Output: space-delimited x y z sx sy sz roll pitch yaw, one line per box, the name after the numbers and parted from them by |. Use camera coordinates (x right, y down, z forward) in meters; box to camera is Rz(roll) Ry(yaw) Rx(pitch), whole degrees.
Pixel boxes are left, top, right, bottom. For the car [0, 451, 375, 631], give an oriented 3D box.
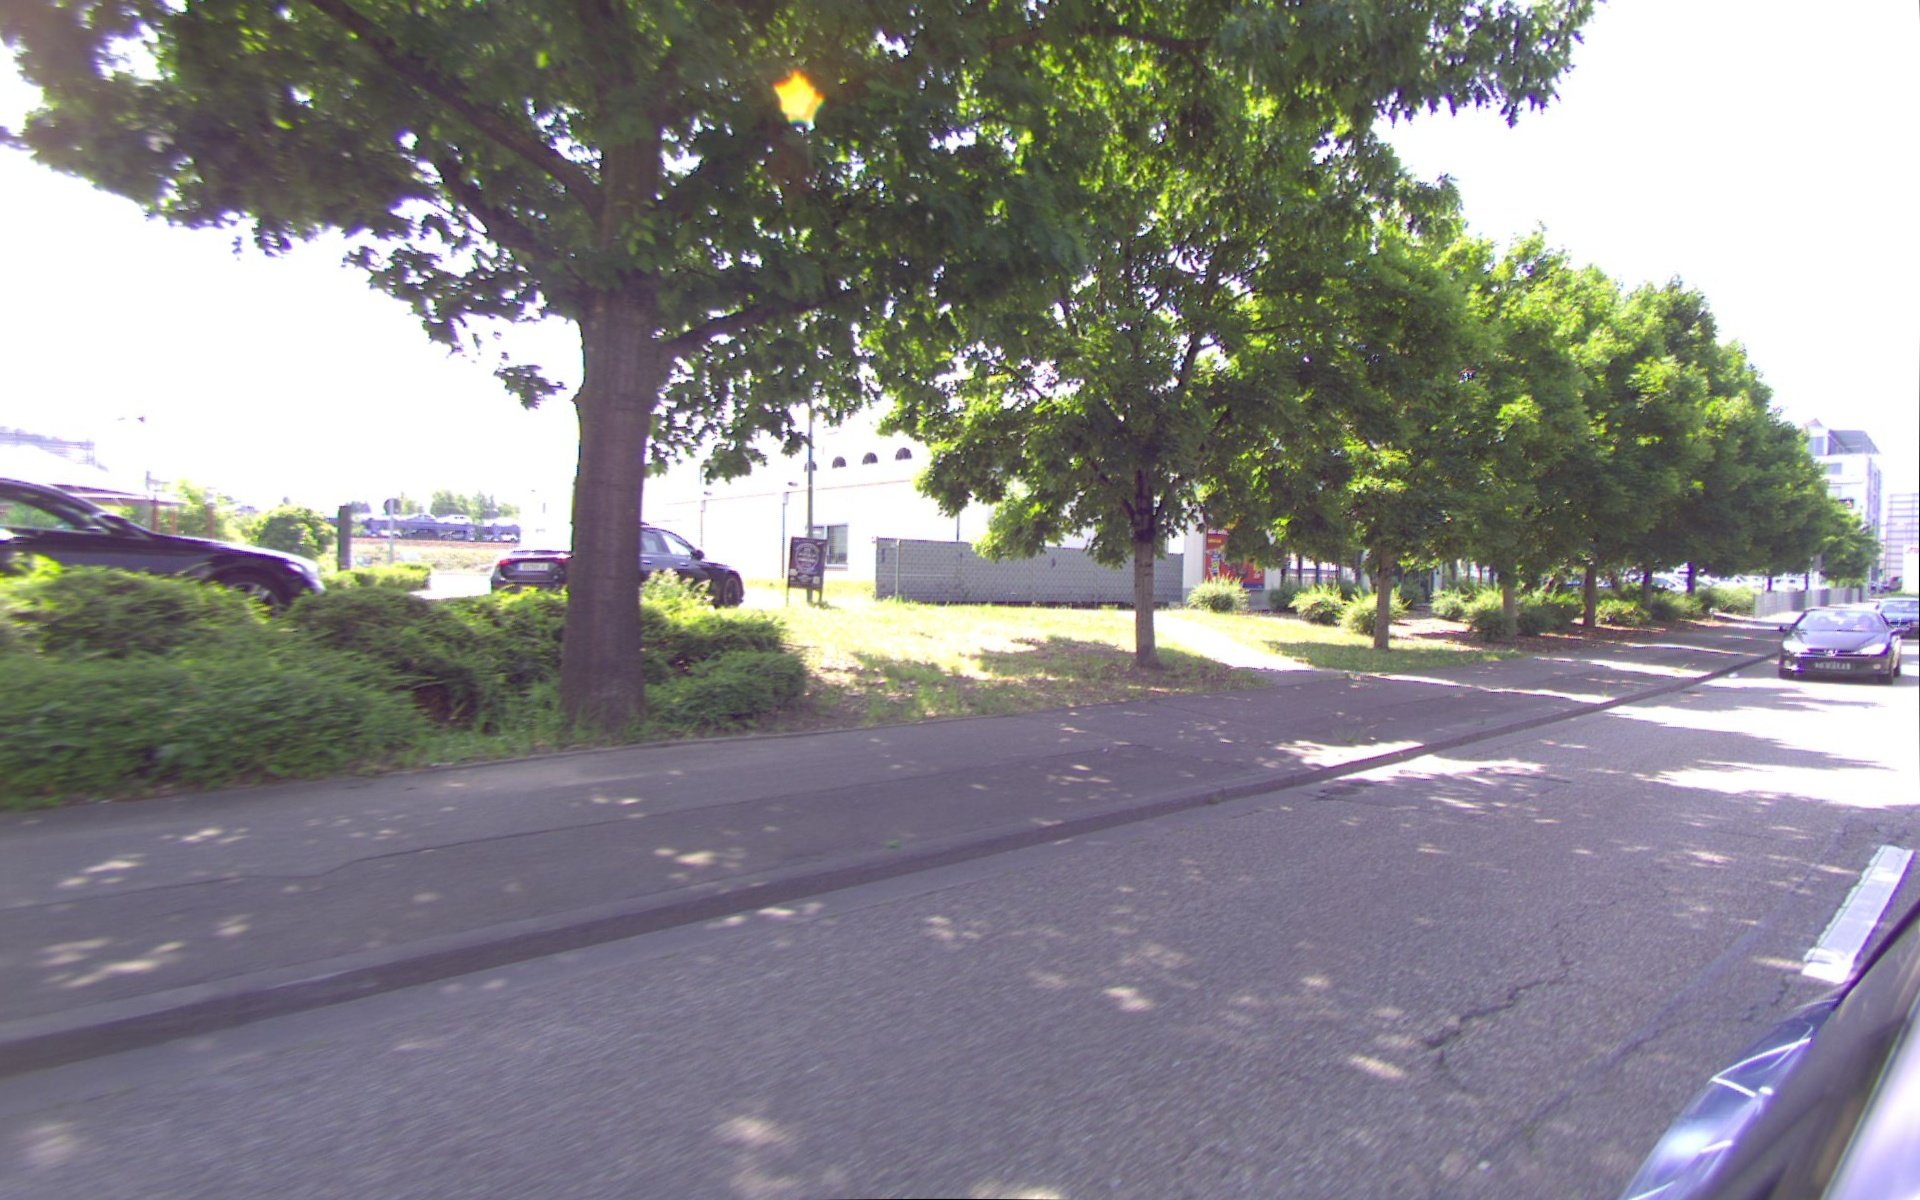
-8.537 -0.498 8.973 1.903 1.469 5.521 1 1 40 | car

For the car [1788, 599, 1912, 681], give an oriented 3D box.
17.363 0.705 19.696 1.637 1.373 3.444 1 2 44 | car

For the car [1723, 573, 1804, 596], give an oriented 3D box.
53.782 -1.058 67.786 1.669 1.439 4.002 0 2 -42 | car

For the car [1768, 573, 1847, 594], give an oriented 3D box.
66.420 -1.345 79.344 1.669 1.523 4.582 0 2 -43 | car

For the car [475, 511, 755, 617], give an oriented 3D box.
-5.177 -0.578 15.979 1.925 1.368 4.696 3 3 14 | car

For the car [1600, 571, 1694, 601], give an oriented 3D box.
37.486 -0.753 55.257 3.987 1.616 1.798 0 1 44 | car

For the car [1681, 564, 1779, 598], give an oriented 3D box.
48.194 -1.212 63.426 1.795 1.948 4.624 0 2 -42 | car

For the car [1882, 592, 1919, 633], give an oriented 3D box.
33.569 0.413 35.379 3.890 1.340 1.709 -1 2 -44 | car
